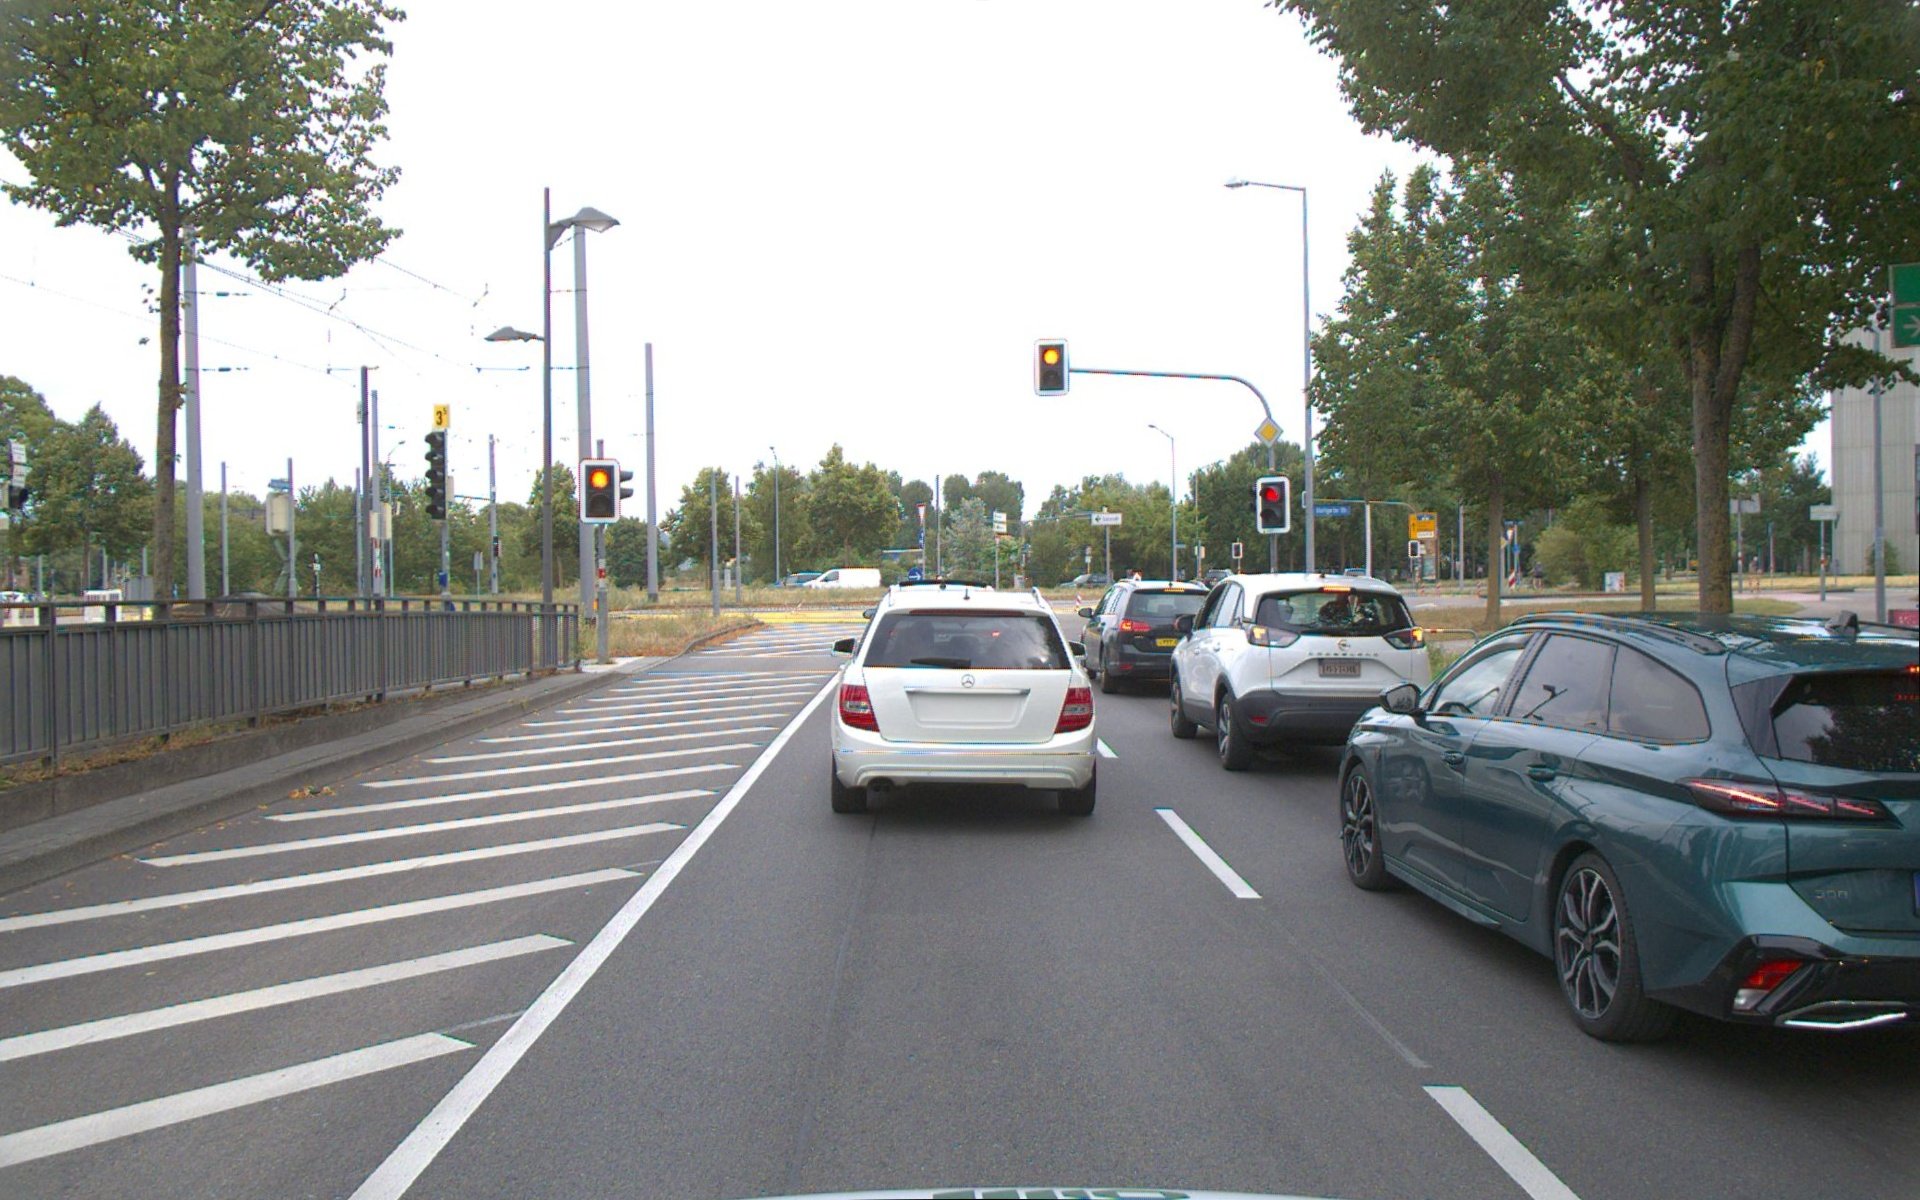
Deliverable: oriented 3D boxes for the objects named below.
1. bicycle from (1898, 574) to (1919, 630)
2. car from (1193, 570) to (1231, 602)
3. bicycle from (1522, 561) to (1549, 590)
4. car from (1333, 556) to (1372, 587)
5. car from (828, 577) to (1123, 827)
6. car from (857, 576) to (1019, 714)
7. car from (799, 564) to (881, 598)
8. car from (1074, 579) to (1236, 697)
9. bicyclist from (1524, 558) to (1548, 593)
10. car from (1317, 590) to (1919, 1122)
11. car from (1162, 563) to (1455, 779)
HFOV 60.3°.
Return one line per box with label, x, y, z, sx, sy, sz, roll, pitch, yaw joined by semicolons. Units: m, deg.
bicycle;18.171;0.023;30.116;1.895;1.001;0.564;-1;1;-2
car;14.749;-0.801;96.772;1.951;1.822;4.003;2;0;12
bicycle;30.773;-1.285;88.468;0.690;1.532;2.007;1;0;-1
car;21.577;-1.571;91.105;1.745;1.664;4.406;0;1;9
car;0.012;0.580;11.751;1.738;1.474;3.909;1;1;-3
car;-0.319;0.461;19.819;1.738;1.474;3.909;1;1;-3
car;-7.507;-1.193;103.413;4.897;2.049;1.994;-1;1;-13
car;2.593;0.451;22.790;1.592;1.474;3.909;1;1;-3
bicyclist;30.784;-1.298;88.396;0.849;1.820;1.174;1;0;-2
car;2.988;0.715;6.894;1.752;1.457;4.307;0;1;-5
car;2.953;0.521;14.819;1.751;1.653;3.910;-1;1;-1
